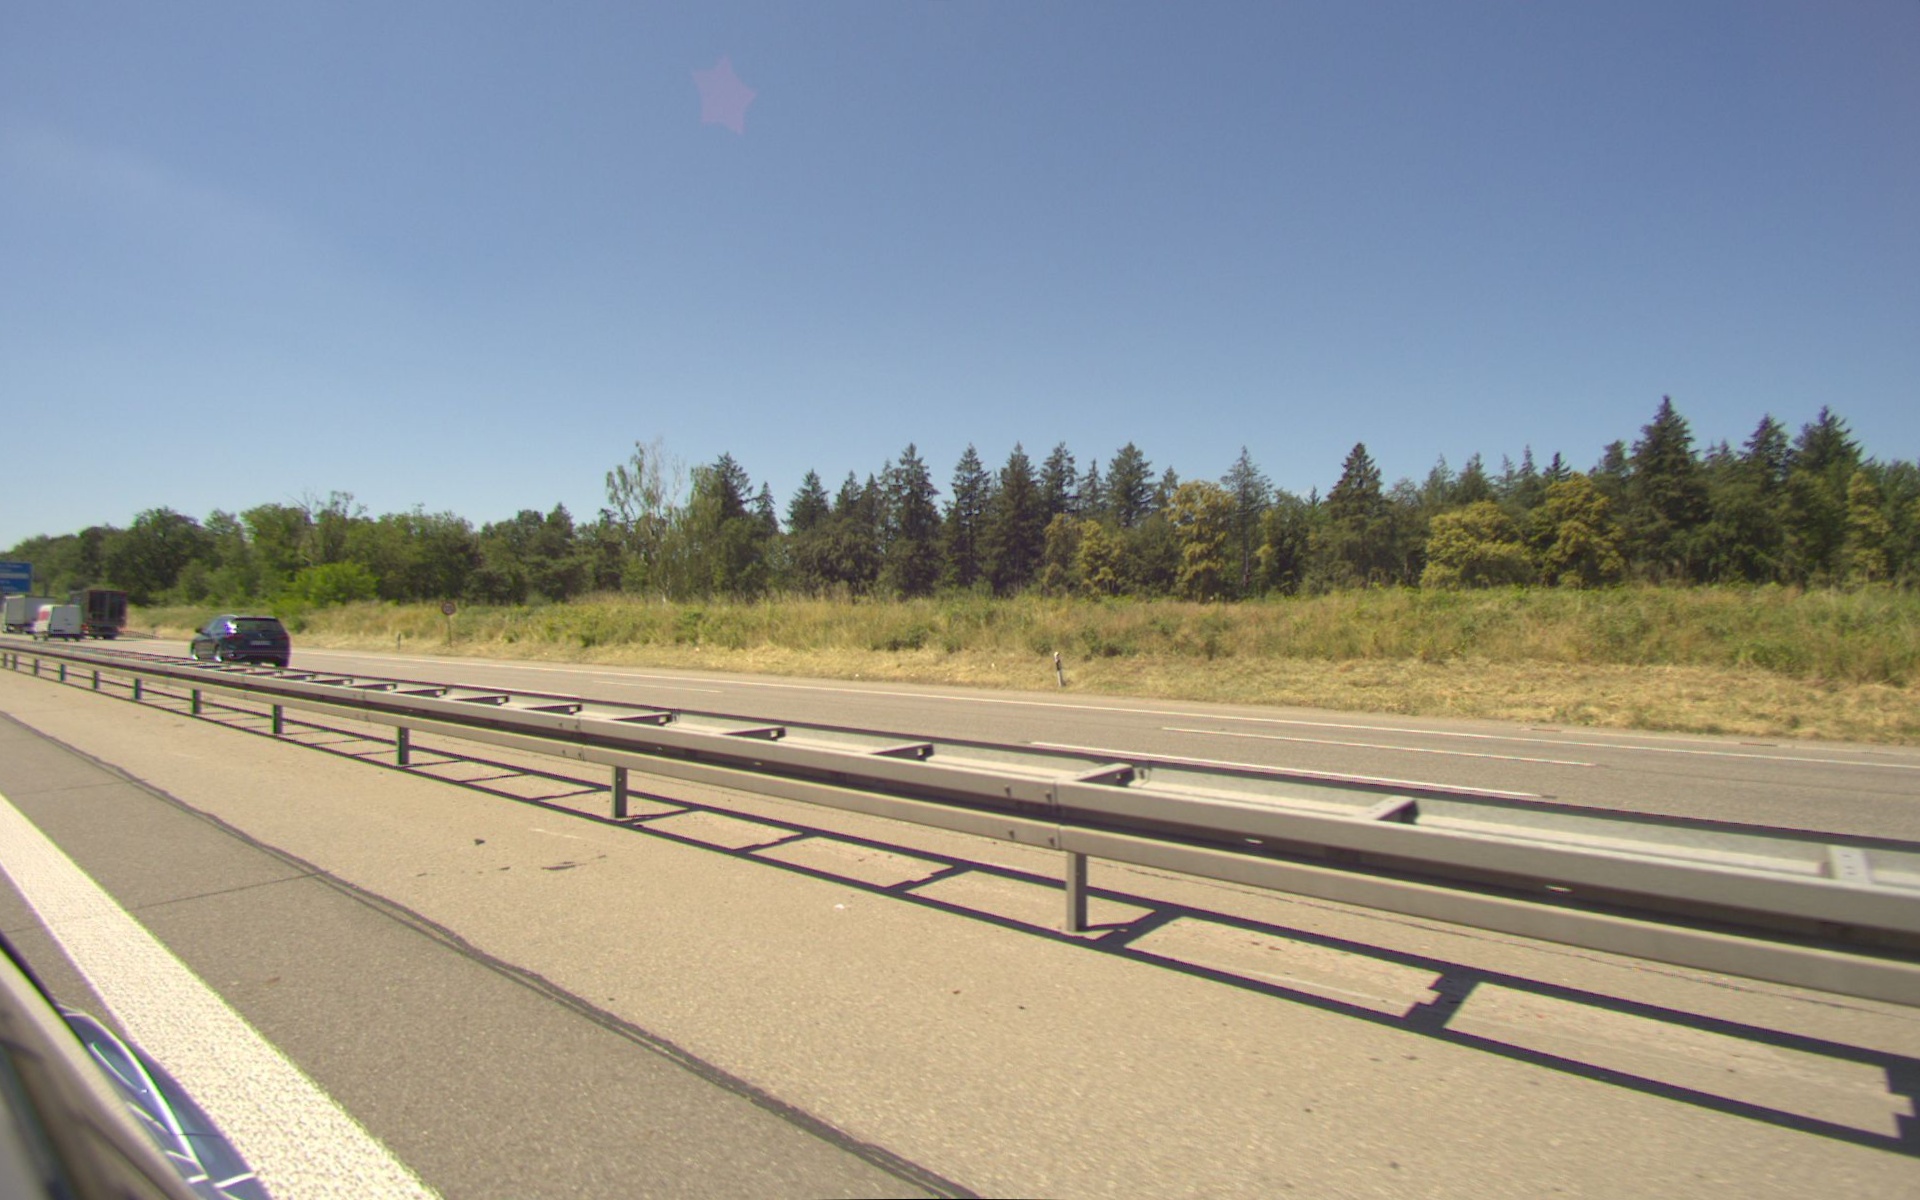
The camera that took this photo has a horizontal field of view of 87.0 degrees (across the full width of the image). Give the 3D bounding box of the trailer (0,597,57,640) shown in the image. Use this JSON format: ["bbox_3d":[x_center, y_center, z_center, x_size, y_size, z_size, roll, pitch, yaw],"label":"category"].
[{"bbox_3d":[-100.205,2.018,108.514,14.118,4.230,3.122,-1,-4,41],"label":"trailer"}]

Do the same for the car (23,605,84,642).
[{"bbox_3d":[-65.522,1.699,73.102,7.129,2.467,2.339,-1,-4,41],"label":"car"}]

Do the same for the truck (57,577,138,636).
[{"bbox_3d":[-73.757,0.634,86.396,12.181,4.660,3.341,-1,-4,41],"label":"truck"}]

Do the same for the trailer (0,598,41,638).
[{"bbox_3d":[-105.517,2.069,113.169,6.322,4.230,3.122,-1,-4,41],"label":"trailer"}]

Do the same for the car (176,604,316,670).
[{"bbox_3d":[-22.541,1.170,31.877,5.222,1.909,2.339,-1,-4,41],"label":"car"}]
